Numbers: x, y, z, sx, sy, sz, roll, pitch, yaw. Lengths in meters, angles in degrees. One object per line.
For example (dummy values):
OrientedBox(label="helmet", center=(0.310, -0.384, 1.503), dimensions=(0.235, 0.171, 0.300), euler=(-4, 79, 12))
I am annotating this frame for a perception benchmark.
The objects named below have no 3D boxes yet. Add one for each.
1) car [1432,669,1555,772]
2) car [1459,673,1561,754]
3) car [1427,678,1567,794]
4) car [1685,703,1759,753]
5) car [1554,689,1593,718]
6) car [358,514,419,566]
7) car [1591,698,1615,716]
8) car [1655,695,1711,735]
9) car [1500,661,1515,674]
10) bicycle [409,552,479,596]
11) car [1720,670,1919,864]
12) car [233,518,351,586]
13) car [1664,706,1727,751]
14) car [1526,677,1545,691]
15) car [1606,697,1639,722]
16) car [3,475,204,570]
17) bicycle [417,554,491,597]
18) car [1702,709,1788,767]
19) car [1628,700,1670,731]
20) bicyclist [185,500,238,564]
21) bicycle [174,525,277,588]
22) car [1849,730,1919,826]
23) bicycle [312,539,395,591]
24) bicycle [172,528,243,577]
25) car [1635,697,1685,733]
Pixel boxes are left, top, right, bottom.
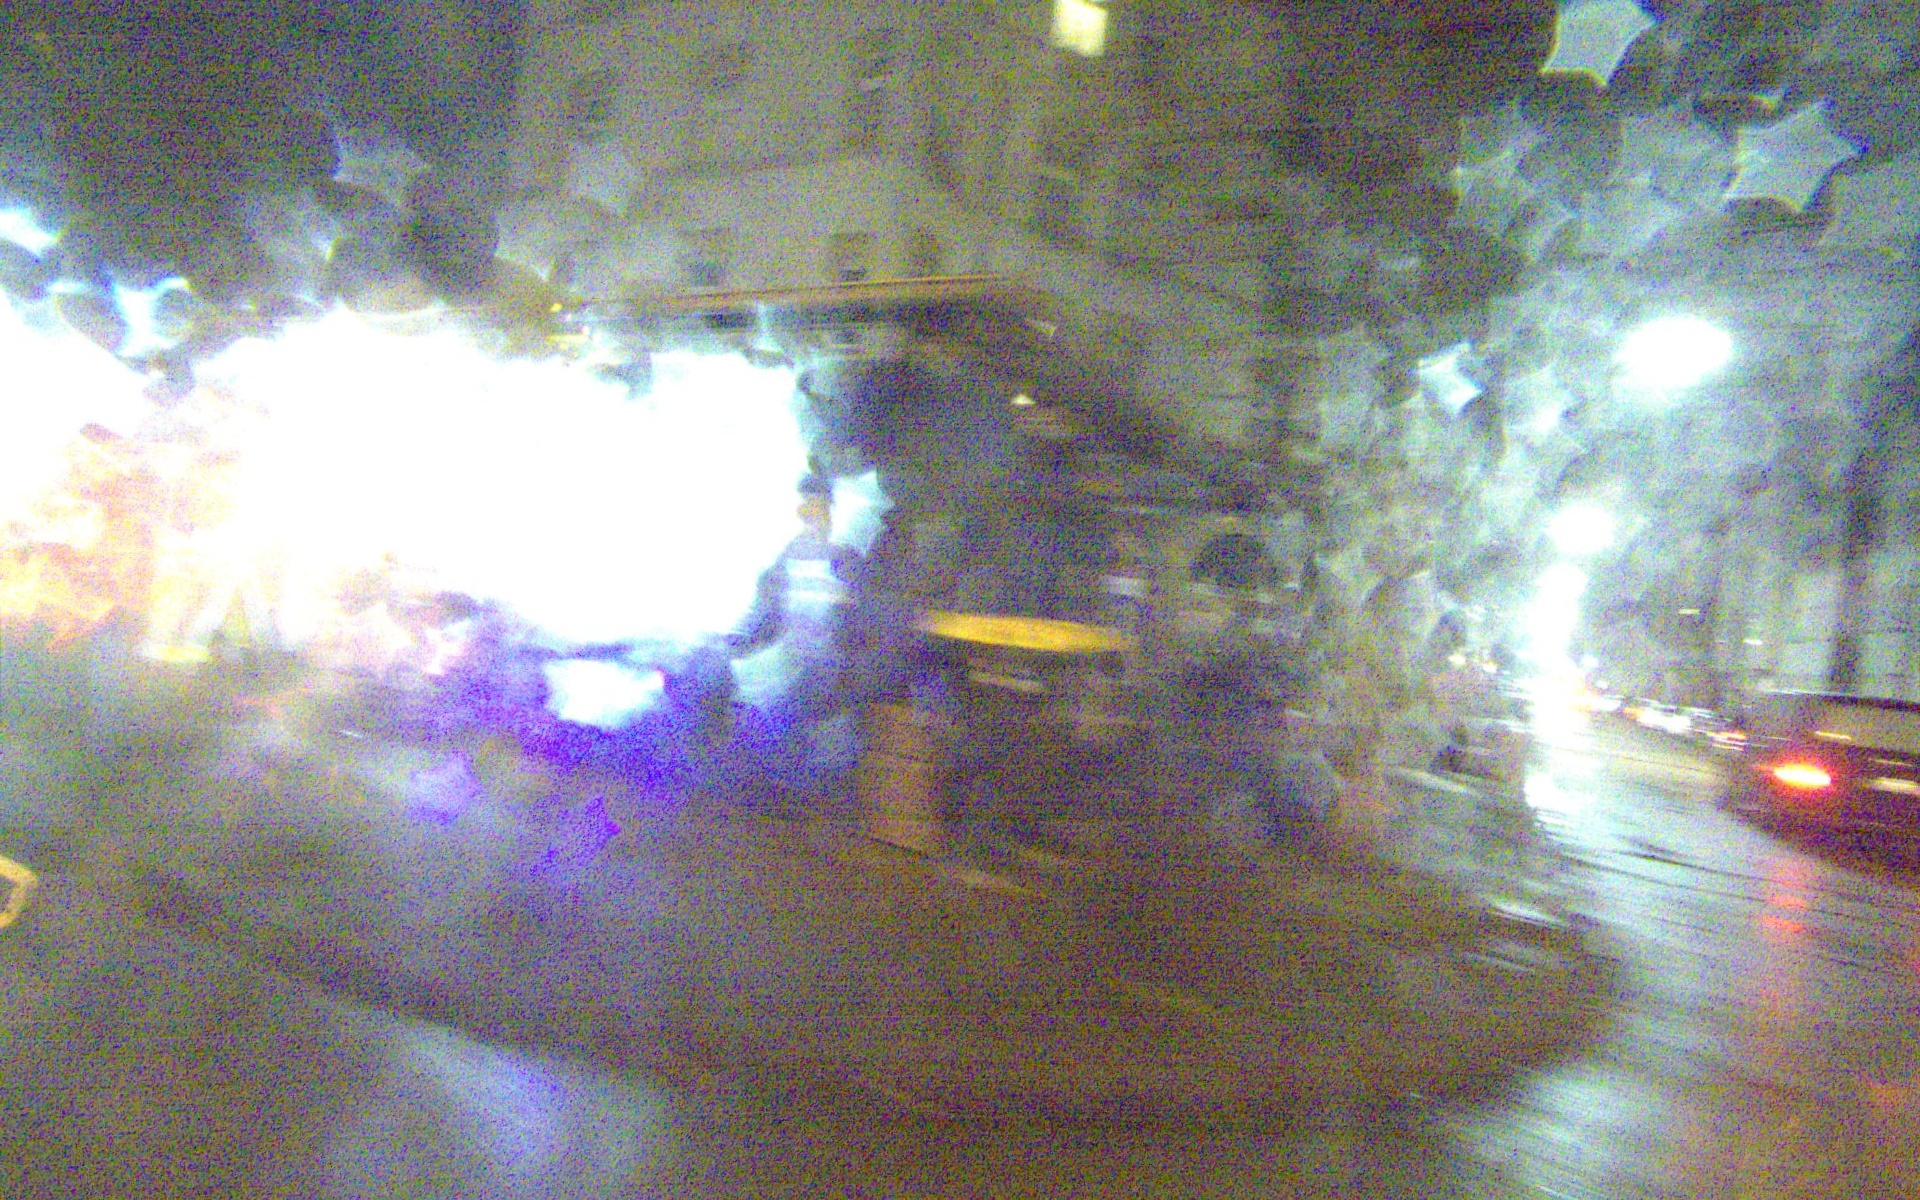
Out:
OrientedBox(label="car", center=(11.744, 2.567, 22.453), dimensions=(1.966, 1.764, 4.691), euler=(7, -1, 25))
OrientedBox(label="car", center=(15.042, 3.031, 27.761), dimensions=(1.966, 1.764, 4.691), euler=(7, -1, 25))
OrientedBox(label="car", center=(9.294, 2.260, 17.715), dimensions=(1.739, 1.520, 4.419), euler=(7, -1, 25))
OrientedBox(label="car", center=(27.988, 4.674, 37.050), dimensions=(1.583, 1.475, 3.410), euler=(7, -1, 30))
OrientedBox(label="car", center=(46.638, 7.837, 76.586), dimensions=(1.967, 1.764, 4.690), euler=(7, -1, 27))
OrientedBox(label="car", center=(-24.055, -2.481, 42.470), dimensions=(1.979, 1.747, 3.973), euler=(9, -3, -28))
OrientedBox(label="car", center=(60.860, 10.125, 95.317), dimensions=(1.583, 1.475, 3.410), euler=(7, -1, 30))
OrientedBox(label="car", center=(32.764, 5.174, 45.655), dimensions=(1.583, 1.475, 3.410), euler=(7, -1, 30))
OrientedBox(label="car", center=(88.536, 10.919, 162.639), dimensions=(1.968, 1.764, 4.688), euler=(7, -1, 29))
OrientedBox(label="bicycle", center=(-15.303, -0.758, 29.842), dimensions=(1.705, 1.073, 0.450), euler=(7, 1, -5))
OrientedBox(label="car", center=(12.142, 2.184, 13.898), dimensions=(1.969, 2.073, 4.685), euler=(7, -1, 32))
OrientedBox(label="car", center=(-21.888, -1.510, 33.147), dimensions=(1.971, 1.747, 3.989), euler=(8, -3, -17))
OrientedBox(label="car", center=(30.443, 5.298, 41.726), dimensions=(1.583, 1.475, 3.410), euler=(7, -1, 30))
OrientedBox(label="car", center=(88.547, 12.940, 154.818), dimensions=(1.967, 1.764, 4.690), euler=(7, -1, 27))
OrientedBox(label="car", center=(46.748, 7.701, 71.032), dimensions=(1.583, 1.475, 3.410), euler=(7, -1, 30))
OrientedBox(label="car", center=(-20.624, -1.802, 24.427), dimensions=(1.704, 1.631, 3.465), euler=(8, -3, 1))
OrientedBox(label="bicycle", center=(-15.630, -0.762, 31.129), dimensions=(1.904, 1.073, 0.450), euler=(7, 1, -10))
OrientedBox(label="car", center=(25.469, 4.453, 32.747), dimensions=(1.583, 1.475, 3.410), euler=(7, -1, 30))
OrientedBox(label="car", center=(40.275, 6.742, 58.852), dimensions=(1.583, 1.475, 3.410), euler=(7, -1, 30))
OrientedBox(label="bicyclist", center=(-21.546, -1.944, 28.961), dimensions=(0.786, 1.694, 0.707), euler=(8, -2, -7))
OrientedBox(label="bicycle", center=(-15.114, -0.885, 20.733), dimensions=(1.634, 1.073, 0.450), euler=(7, 1, -5))
OrientedBox(label="car", center=(17.845, 3.303, 18.296), dimensions=(1.583, 1.475, 3.974), euler=(7, -1, 30))
OrientedBox(label="bicycle", center=(-14.934, -0.861, 24.775), dimensions=(1.634, 1.073, 0.450), euler=(7, 1, -5))
OrientedBox(label="bicycle", center=(-21.625, -1.350, 28.950), dimensions=(0.763, 1.161, 1.716), euler=(8, -2, -7))
OrientedBox(label="car", center=(34.859, 5.692, 50.149), dimensions=(1.583, 1.475, 3.410), euler=(7, -1, 30))
